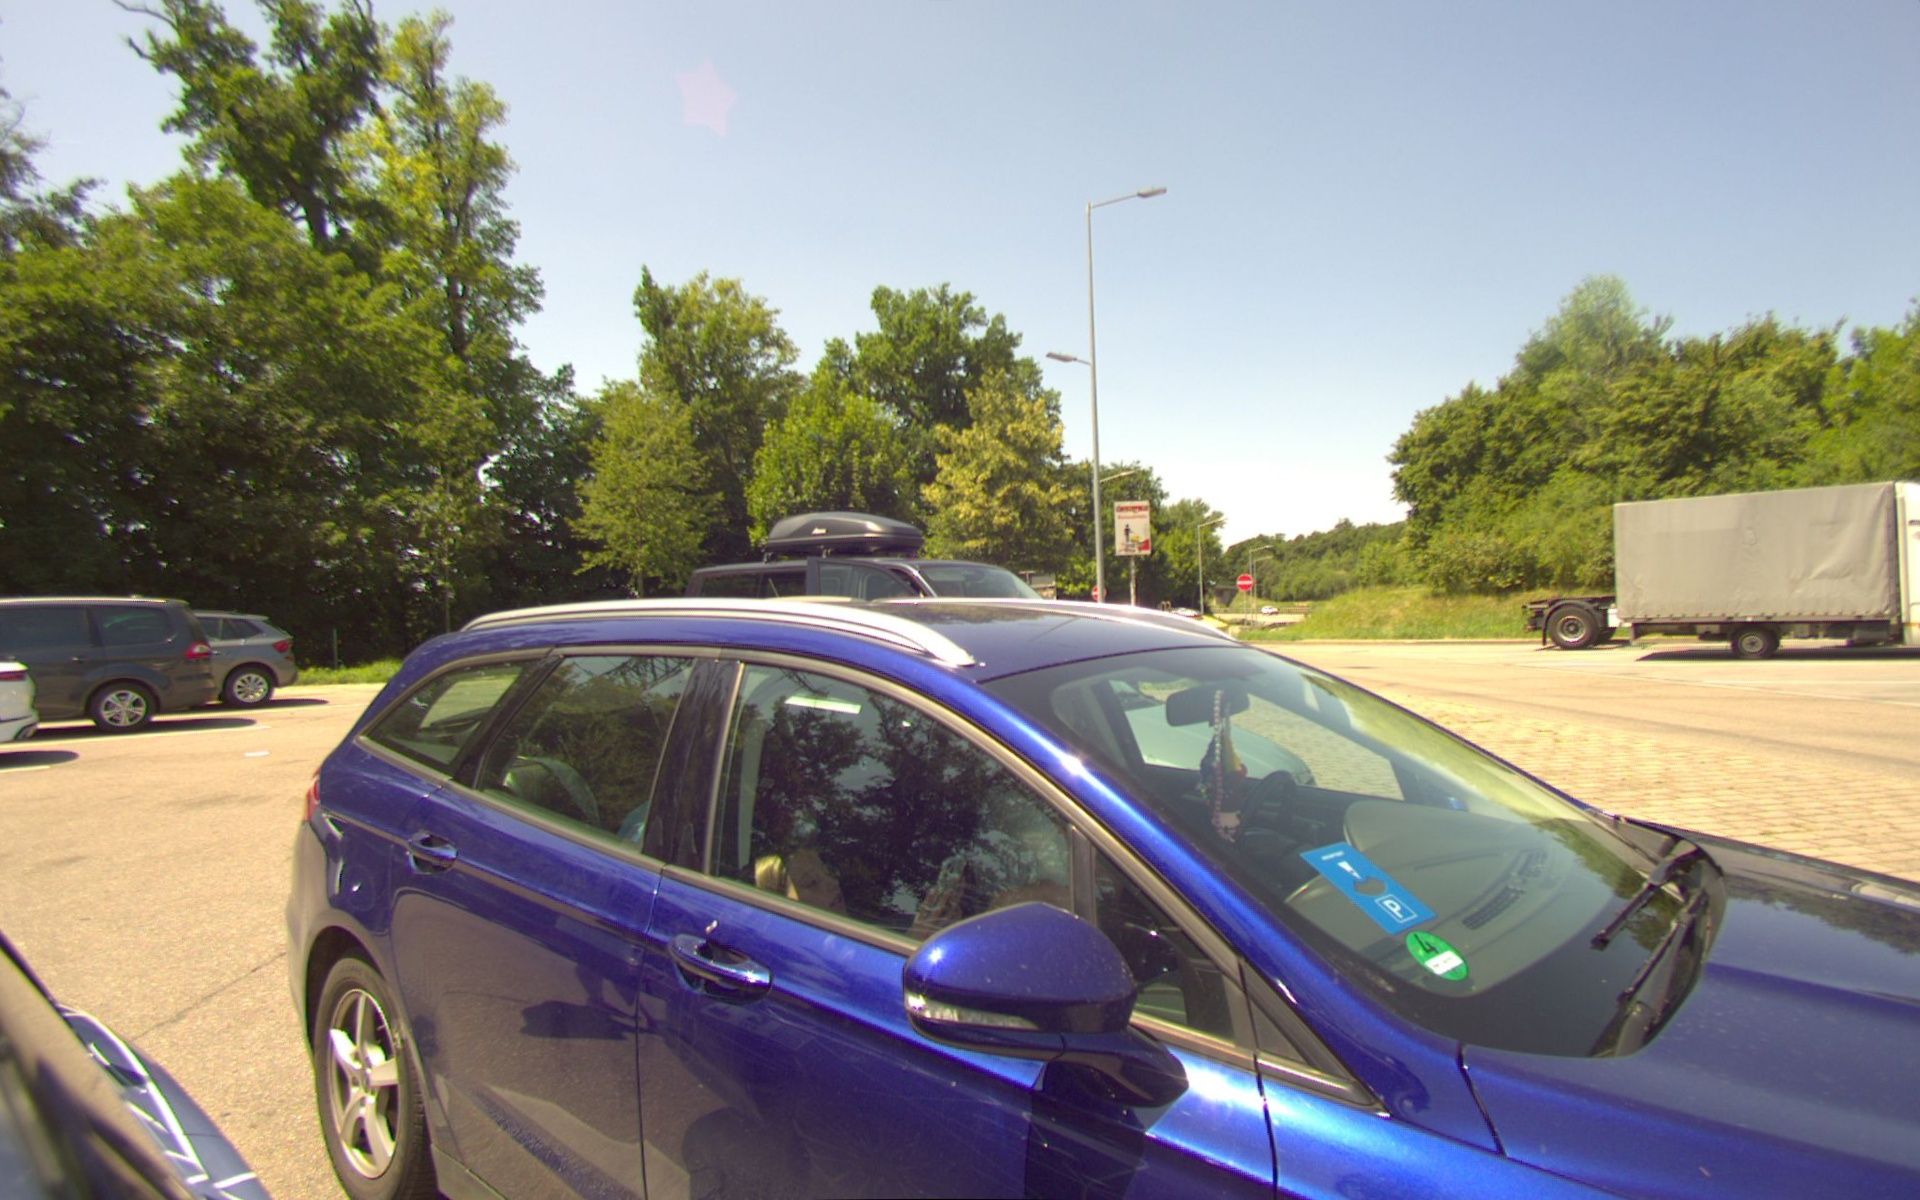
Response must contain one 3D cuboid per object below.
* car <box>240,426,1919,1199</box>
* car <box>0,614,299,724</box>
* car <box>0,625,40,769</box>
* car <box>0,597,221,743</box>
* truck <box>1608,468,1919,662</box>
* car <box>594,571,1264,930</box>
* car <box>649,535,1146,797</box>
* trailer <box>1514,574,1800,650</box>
[{"bbox_3d":[0.226,0.653,2.115,4.427,1.455,1.763,-2,-1,40],"label":"car"},{"bbox_3d":[-12.608,0.974,15.645,3.753,1.488,1.743,0,-1,-45],"label":"car"},{"bbox_3d":[-10.972,0.946,9.230,3.753,1.377,1.804,0,-1,-45],"label":"car"},{"bbox_3d":[-11.726,0.838,12.618,3.830,1.703,1.883,0,-2,-45],"label":"car"},{"bbox_3d":[16.699,-0.623,18.874,7.308,3.258,2.294,-5,-2,43],"label":"truck"},{"bbox_3d":[-0.378,0.652,5.837,3.739,1.424,1.587,-2,-1,40],"label":"car"},{"bbox_3d":[-0.745,0.534,9.447,4.427,1.875,2.022,-2,-1,40],"label":"car"},{"bbox_3d":[16.320,0.341,23.947,5.393,1.608,1.576,-2,-1,41],"label":"trailer"}]
